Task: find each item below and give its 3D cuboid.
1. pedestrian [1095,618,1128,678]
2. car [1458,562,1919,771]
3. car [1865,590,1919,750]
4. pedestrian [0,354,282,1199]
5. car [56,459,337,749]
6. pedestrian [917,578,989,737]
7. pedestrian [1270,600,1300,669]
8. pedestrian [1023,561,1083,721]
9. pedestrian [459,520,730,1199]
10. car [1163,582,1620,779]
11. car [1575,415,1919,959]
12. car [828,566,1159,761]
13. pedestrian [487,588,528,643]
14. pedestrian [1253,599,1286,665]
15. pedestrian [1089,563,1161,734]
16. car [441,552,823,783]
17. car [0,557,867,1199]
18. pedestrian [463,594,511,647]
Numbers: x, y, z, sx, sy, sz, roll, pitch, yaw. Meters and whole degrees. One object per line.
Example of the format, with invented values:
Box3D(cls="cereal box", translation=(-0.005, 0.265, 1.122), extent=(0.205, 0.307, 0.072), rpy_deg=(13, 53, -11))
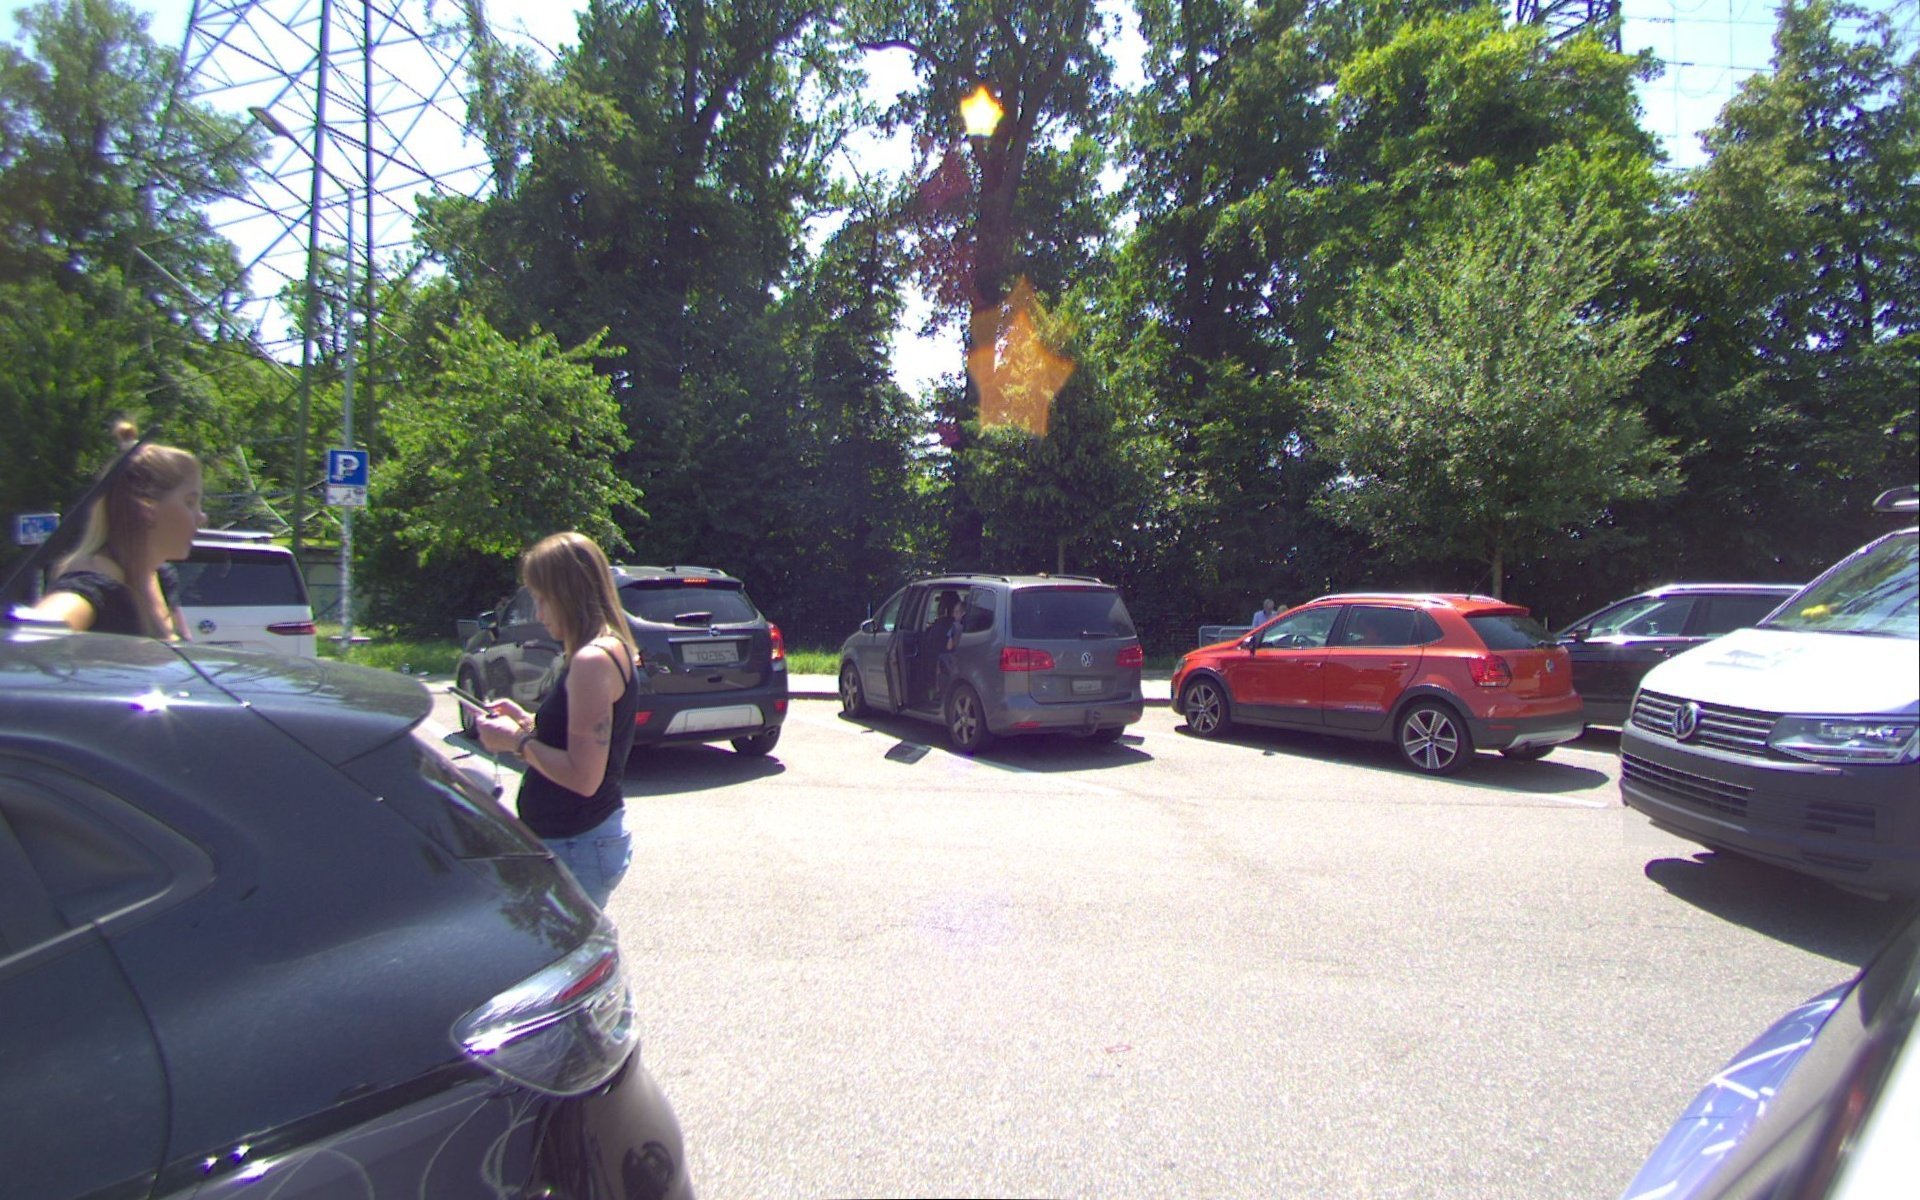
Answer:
Box3D(cls="pedestrian", translation=(2.363, 0.738, 15.750), extent=(0.494, 0.890, 0.512), rpy_deg=(0, 0, 10))
Box3D(cls="car", translation=(7.123, 0.519, 9.724), extent=(1.679, 1.637, 3.863), rpy_deg=(1, 0, -40))
Box3D(cls="car", translation=(10.484, 0.667, 8.684), extent=(1.813, 1.473, 3.776), rpy_deg=(1, 0, -36))
Box3D(cls="pedestrian", translation=(-1.917, 0.475, 2.389), extent=(0.478, 1.883, 0.913), rpy_deg=(1, -1, -33))
Box3D(cls="car", translation=(-8.346, 0.024, 10.846), extent=(1.897, 2.400, 4.963), rpy_deg=(1, -1, -43))
Box3D(cls="pedestrian", translation=(-0.074, 0.548, 10.059), extent=(0.511, 1.516, 0.560), rpy_deg=(0, 0, -30))
Box3D(cls="pedestrian", translation=(5.770, 0.606, 17.964), extent=(0.348, 1.207, 0.367), rpy_deg=(0, 0, -20))
Box3D(cls="pedestrian", translation=(1.034, 0.440, 11.289), extent=(0.500, 1.744, 0.438), rpy_deg=(0, 0, -24))
Box3D(cls="pedestrian", translation=(-0.945, 0.626, 2.613), extent=(0.477, 1.614, 0.502), rpy_deg=(1, -1, -44))
Box3D(cls="car", translation=(3.869, 0.609, 9.651), extent=(1.588, 1.485, 3.751), rpy_deg=(1, 0, -34))
Box3D(cls="car", translation=(6.167, 0.359, 4.709), extent=(5.336, 2.131, 1.842), rpy_deg=(1, 1, 4))
Box3D(cls="car", translation=(0.145, 0.520, 10.629), extent=(1.670, 1.637, 3.912), rpy_deg=(0, 0, -30))
Box3D(cls="pedestrian", translation=(-11.001, 0.372, 24.606), extent=(0.539, 1.318, 0.758), rpy_deg=(0, 0, 37))
Box3D(cls="pedestrian", translation=(5.812, 0.597, 18.997), extent=(0.433, 1.207, 0.414), rpy_deg=(0, 0, -30))
Box3D(cls="pedestrian", translation=(1.725, 0.492, 10.621), extent=(0.576, 1.744, 0.483), rpy_deg=(0, 0, -20))
Box3D(cls="car", translation=(-3.202, 0.472, 9.349), extent=(1.807, 1.637, 4.159), rpy_deg=(1, 0, -42))
Box3D(cls="car", translation=(-2.024, 0.711, 0.767), extent=(1.777, 1.476, 3.627), rpy_deg=(0, 1, 45))
Box3D(cls="pedestrian", translation=(-10.666, 0.453, 22.821), extent=(0.785, 1.178, 0.696), rpy_deg=(0, 0, 39))
